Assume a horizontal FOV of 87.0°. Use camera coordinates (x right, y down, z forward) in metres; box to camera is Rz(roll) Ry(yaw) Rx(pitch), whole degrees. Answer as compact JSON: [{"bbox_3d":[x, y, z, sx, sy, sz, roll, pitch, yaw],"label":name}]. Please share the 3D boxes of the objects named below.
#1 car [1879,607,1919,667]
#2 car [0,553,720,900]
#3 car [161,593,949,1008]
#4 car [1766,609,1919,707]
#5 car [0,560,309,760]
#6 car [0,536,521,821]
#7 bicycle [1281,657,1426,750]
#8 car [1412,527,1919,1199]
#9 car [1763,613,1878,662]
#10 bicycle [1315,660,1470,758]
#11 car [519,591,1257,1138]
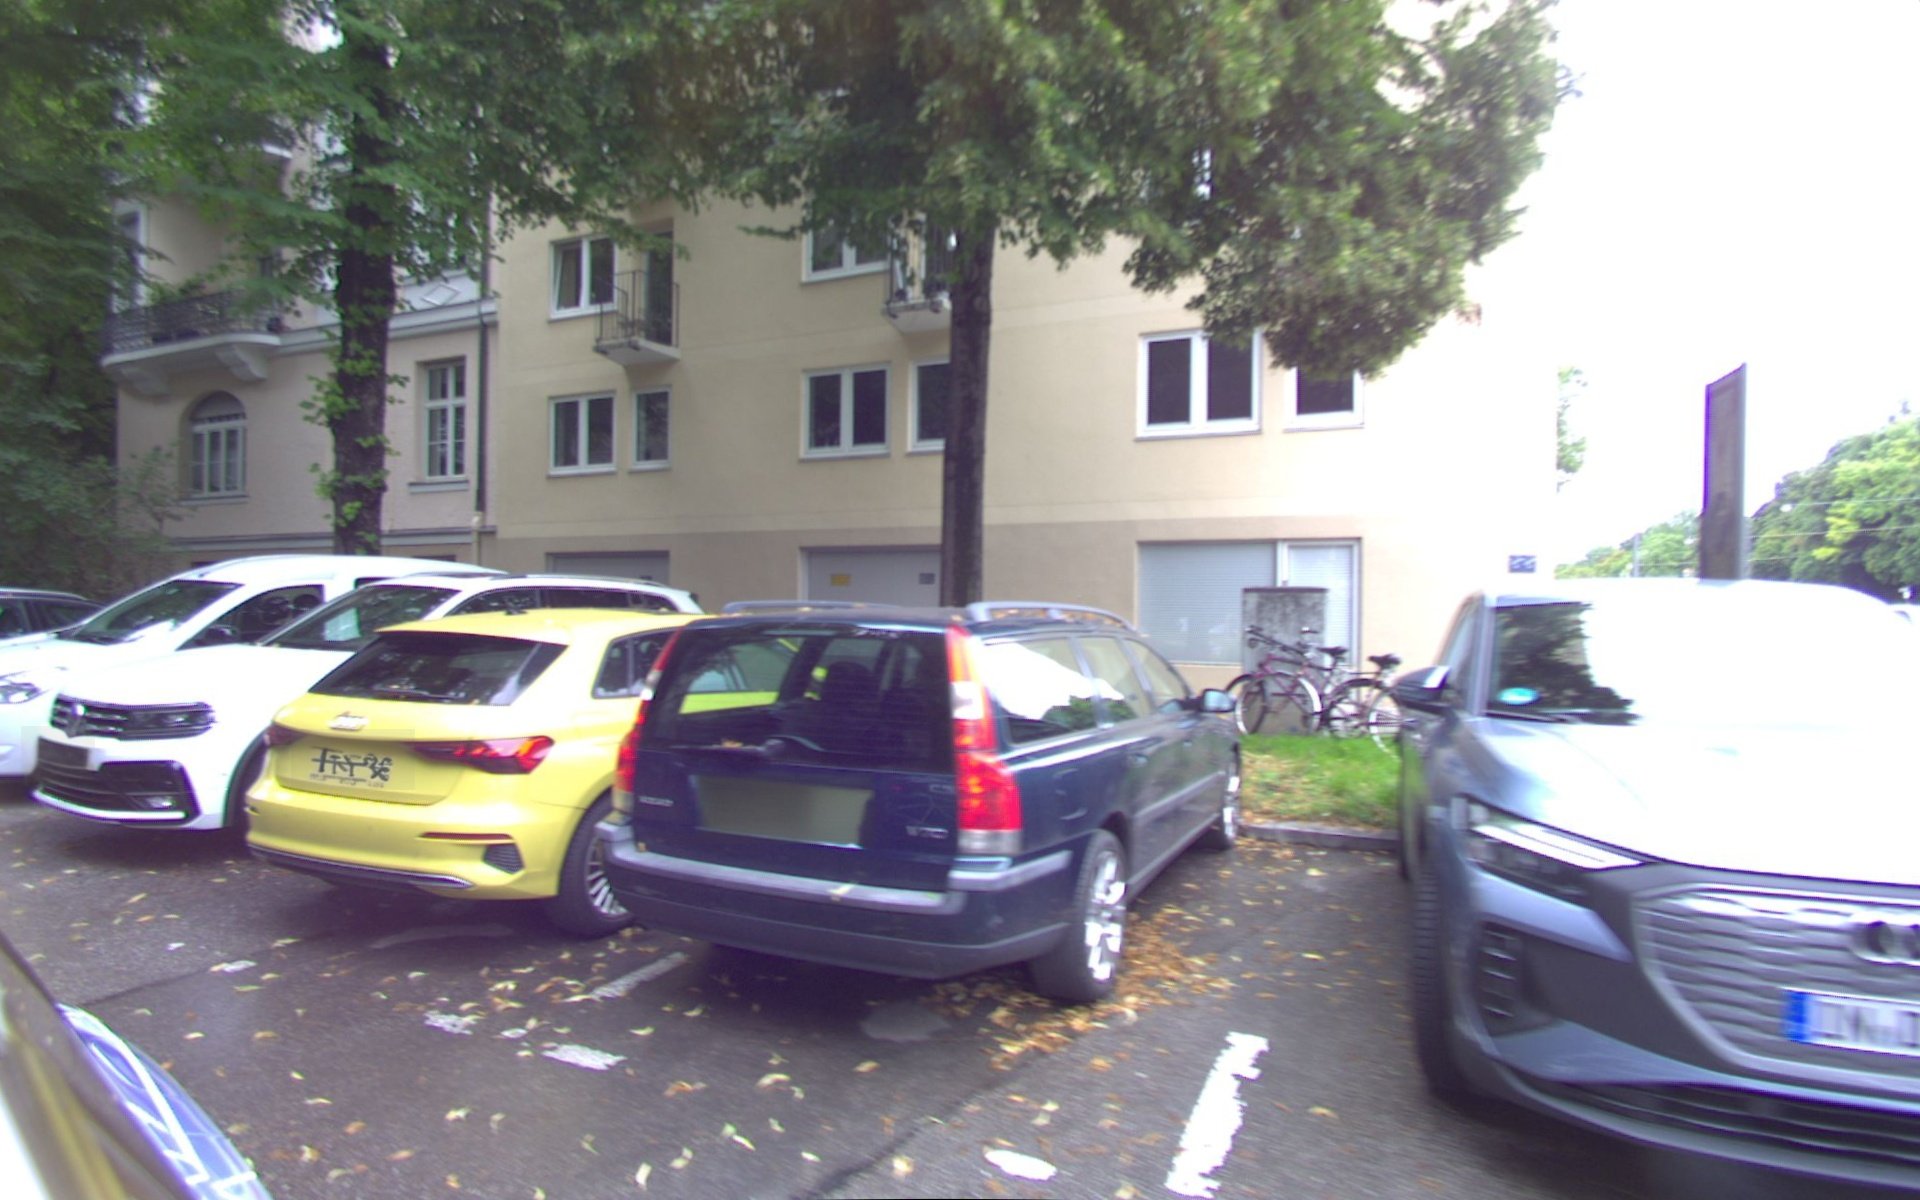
[{"bbox_3d":[28.286,1.052,28.446,2.063,1.715,5.051,0,0,23],"label":"car"},{"bbox_3d":[-3.745,0.605,7.091,1.906,1.632,4.212,0,0,23],"label":"car"},{"bbox_3d":[-1.773,0.727,5.945,1.906,1.478,4.212,0,0,23],"label":"car"},{"bbox_3d":[16.669,0.969,18.385,2.119,1.577,4.469,-1,-1,25],"label":"car"},{"bbox_3d":[-8.415,0.481,8.883,1.907,1.611,4.211,0,0,24],"label":"car"},{"bbox_3d":[-6.044,0.495,8.442,1.907,1.764,4.211,0,0,24],"label":"car"},{"bbox_3d":[3.362,0.870,8.674,1.143,0.713,0.280,0,0,25],"label":"bicycle"},{"bbox_3d":[2.725,0.668,3.743,1.814,1.577,4.212,0,0,23],"label":"car"},{"bbox_3d":[32.607,1.399,38.521,2.063,1.715,4.524,0,-1,23],"label":"car"},{"bbox_3d":[3.521,0.872,8.273,1.143,0.713,0.280,0,0,25],"label":"bicycle"},{"bbox_3d":[0.196,0.726,5.101,2.042,1.478,4.212,0,0,23],"label":"car"}]
